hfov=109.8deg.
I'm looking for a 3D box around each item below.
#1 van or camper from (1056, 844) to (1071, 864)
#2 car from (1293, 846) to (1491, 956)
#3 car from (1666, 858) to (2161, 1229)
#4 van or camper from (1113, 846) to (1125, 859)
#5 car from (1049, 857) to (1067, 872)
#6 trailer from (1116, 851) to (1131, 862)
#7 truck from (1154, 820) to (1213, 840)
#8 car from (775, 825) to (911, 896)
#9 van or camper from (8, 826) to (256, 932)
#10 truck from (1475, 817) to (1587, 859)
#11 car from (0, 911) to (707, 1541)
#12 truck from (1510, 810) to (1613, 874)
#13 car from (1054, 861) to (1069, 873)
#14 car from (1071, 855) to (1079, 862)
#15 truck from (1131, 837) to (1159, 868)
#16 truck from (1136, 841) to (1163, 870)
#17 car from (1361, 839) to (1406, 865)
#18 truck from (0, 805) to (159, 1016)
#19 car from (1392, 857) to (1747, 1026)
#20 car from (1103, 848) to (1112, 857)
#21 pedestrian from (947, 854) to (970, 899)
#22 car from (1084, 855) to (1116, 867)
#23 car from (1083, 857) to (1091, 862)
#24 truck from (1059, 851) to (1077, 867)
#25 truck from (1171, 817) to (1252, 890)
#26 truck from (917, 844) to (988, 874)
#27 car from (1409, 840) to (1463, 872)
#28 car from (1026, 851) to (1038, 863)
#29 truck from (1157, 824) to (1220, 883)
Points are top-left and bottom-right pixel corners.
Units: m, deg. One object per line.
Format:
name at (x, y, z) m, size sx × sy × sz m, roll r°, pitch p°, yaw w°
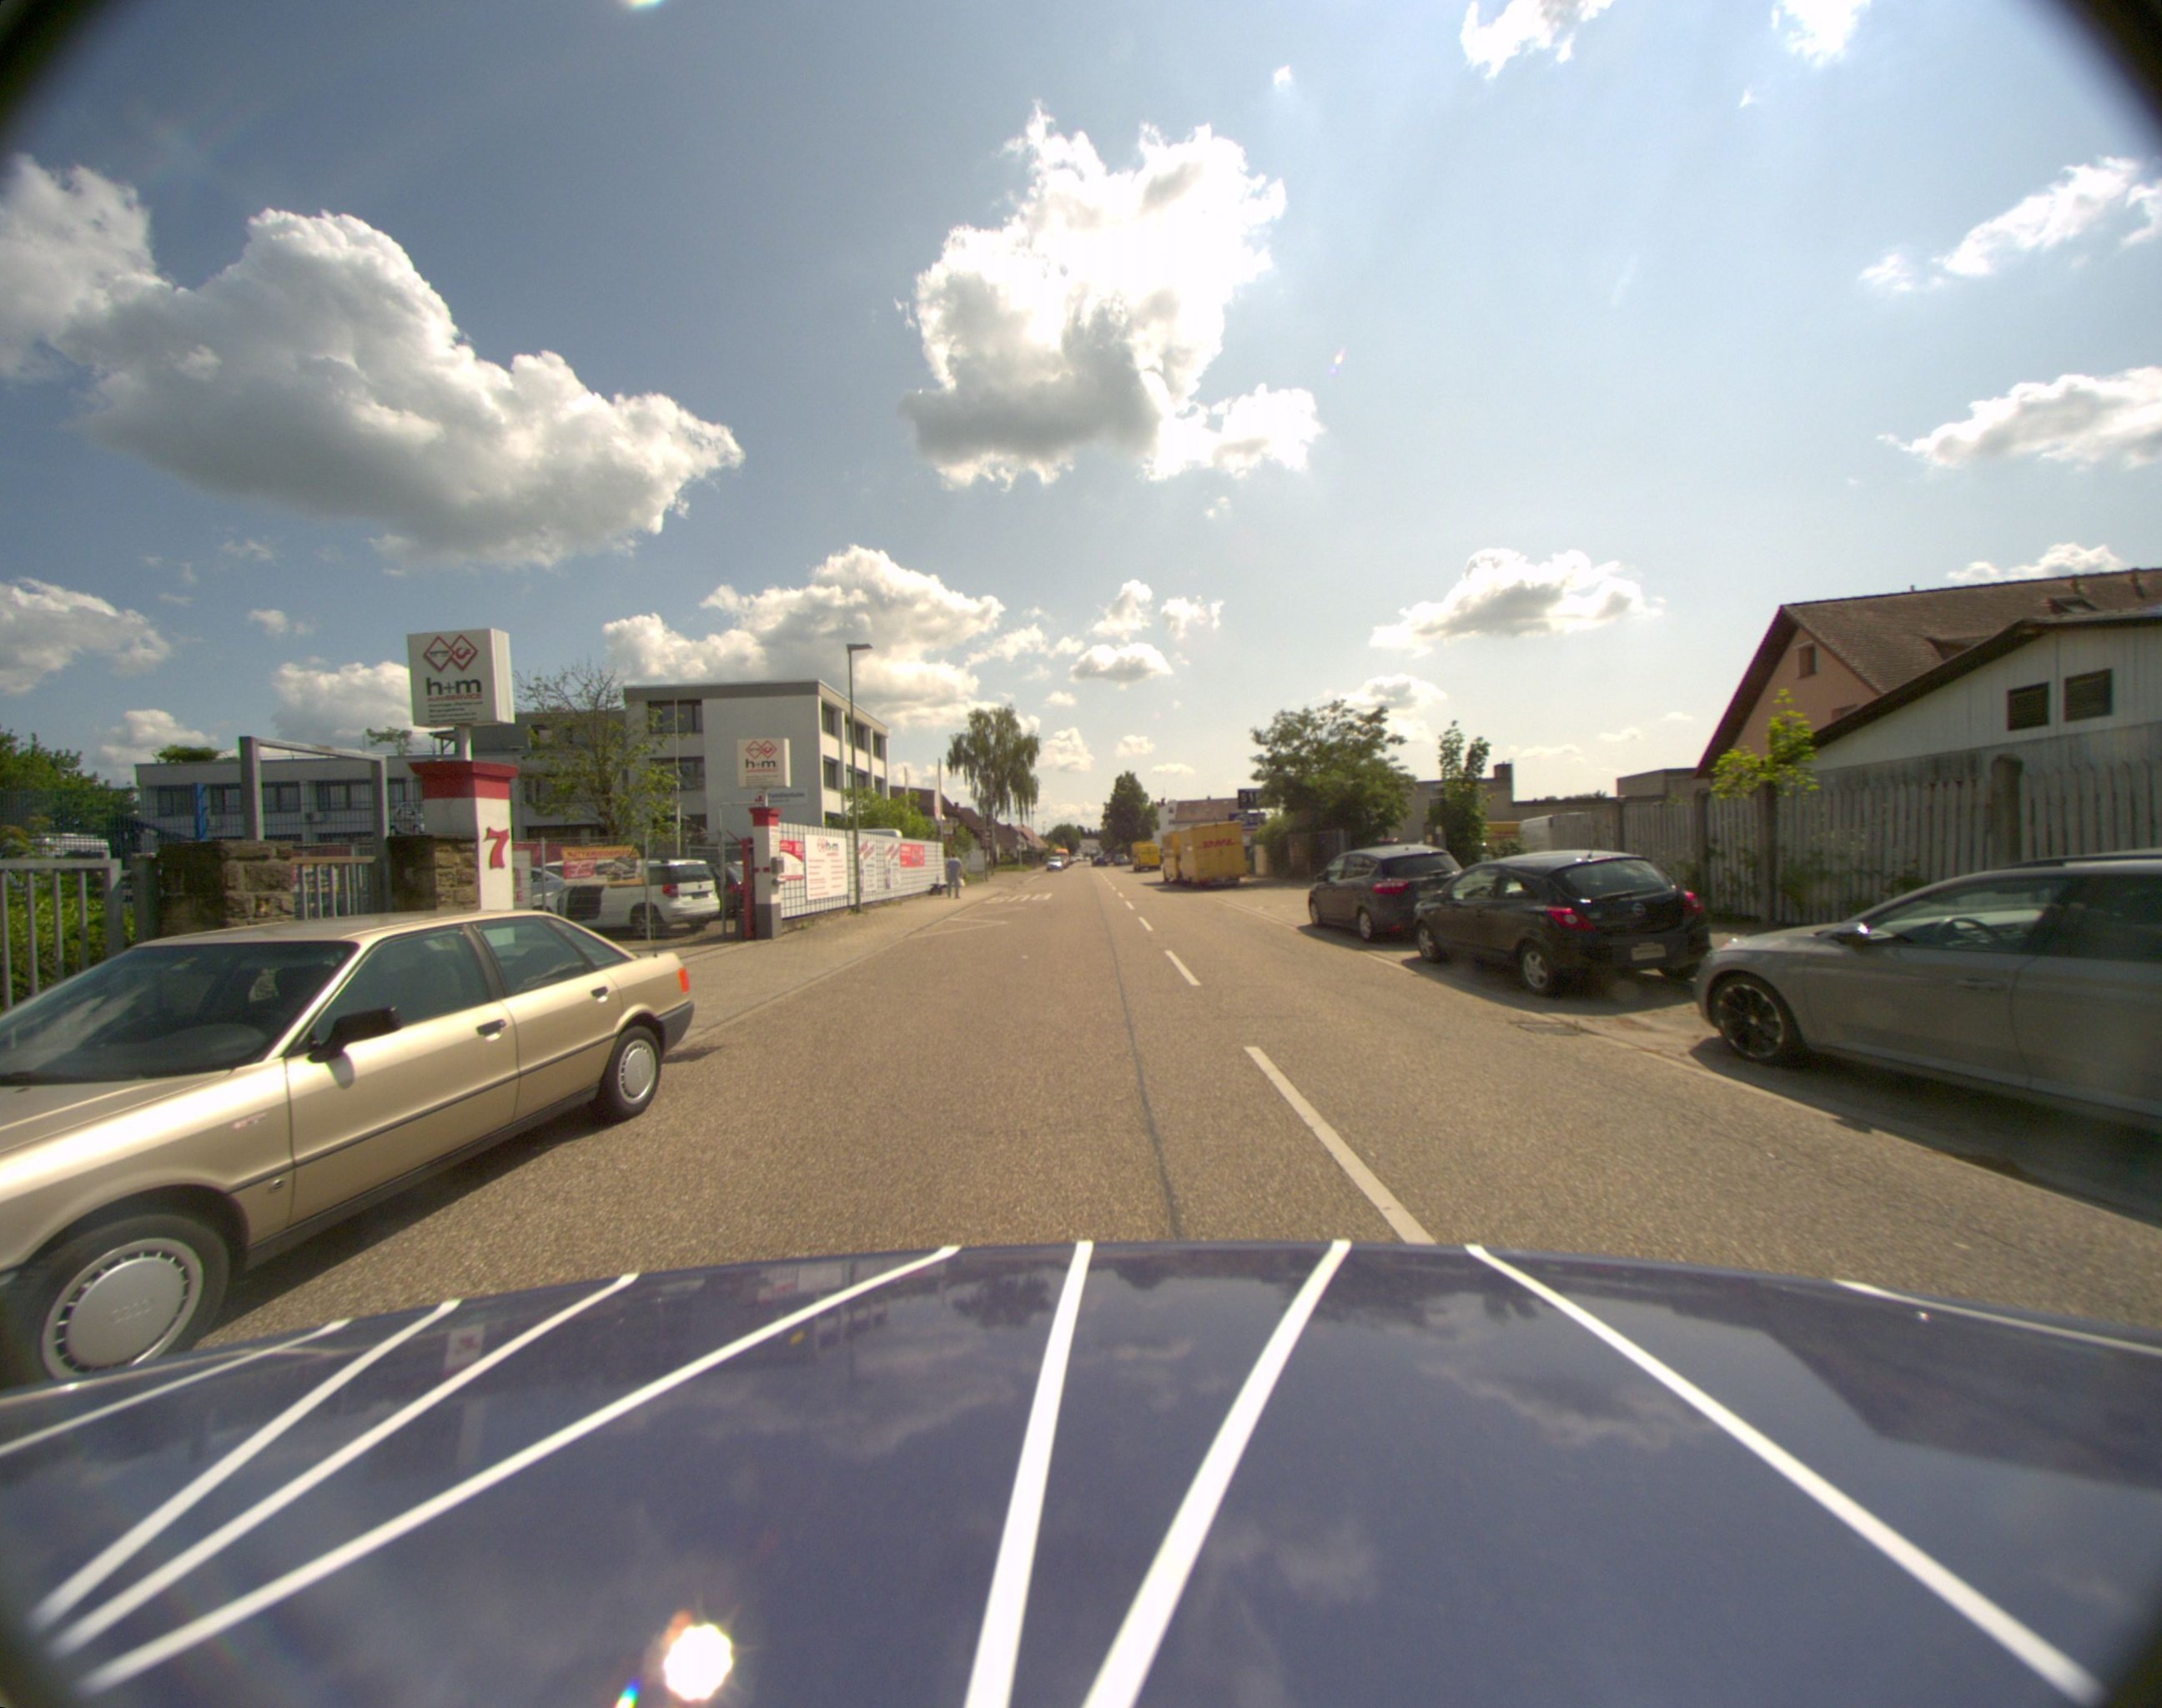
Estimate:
van or camper at (-2.522, -0.010, 108.047) m, size 1.999 × 2.648 × 5.768 m, roll -2°, pitch 0°, yaw -1°
car at (5.571, 0.740, 14.315) m, size 1.729 × 1.595 × 4.413 m, roll -5°, pitch 0°, yaw -1°
car at (5.595, 0.842, 3.704) m, size 1.737 × 1.509 × 4.742 m, roll -4°, pitch 0°, yaw 0°
van or camper at (7.339, -0.343, 147.349) m, size 1.998 × 2.303 × 5.934 m, roll -5°, pitch 0°, yaw 3°
car at (-2.545, 1.144, 84.206) m, size 1.614 × 1.571 × 4.000 m, roll -3°, pitch 0°, yaw 2°
trailer at (6.034, 0.328, 108.616) m, size 1.766 × 1.282 × 4.508 m, roll -5°, pitch 0°, yaw 1°
truck at (16.578, -3.856, 123.404) m, size 9.278 × 2.839 × 2.721 m, roll -2°, pitch 0°, yaw 5°
car at (-9.687, 0.251, 31.319) m, size 4.922 × 2.636 × 2.072 m, roll -2°, pitch 1°, yaw -7°
van or camper at (-31.528, 0.785, 25.373) m, size 5.435 × 3.211 × 2.143 m, roll -2°, pitch 1°, yaw 0°
truck at (31.905, -1.103, 54.097) m, size 6.426 × 2.749 × 2.327 m, roll -1°, pitch 1°, yaw 14°
car at (-3.690, 1.169, 3.432) m, size 1.656 × 1.379 × 4.423 m, roll -3°, pitch 0°, yaw 1°
truck at (20.889, -0.490, 33.348) m, size 2.114 × 2.473 × 5.726 m, roll -2°, pitch 0°, yaw 14°
car at (-2.417, 1.595, 95.622) m, size 1.673 × 1.327 × 4.437 m, roll -2°, pitch 0°, yaw 0°
car at (-1.623, 1.121, 200.711) m, size 1.896 × 1.763 × 4.709 m, roll -2°, pitch 0°, yaw 0°
truck at (6.281, -0.136, 75.425) m, size 2.226 × 2.840 × 7.070 m, roll -4°, pitch 0°, yaw 2°
truck at (6.125, 0.095, 68.431) m, size 1.998 × 2.399 × 6.065 m, roll -4°, pitch 0°, yaw 2°
car at (16.214, -0.090, 40.830) m, size 1.812 × 1.297 × 3.874 m, roll -1°, pitch -1°, yaw 15°
truck at (-16.380, 0.787, 9.230) m, size 7.094 × 2.510 × 2.577 m, roll -2°, pitch 1°, yaw 0°
car at (5.561, 0.859, 9.377) m, size 1.632 × 1.440 × 4.026 m, roll -6°, pitch 0°, yaw -1°
car at (6.043, -0.291, 173.863) m, size 1.814 × 1.795 × 4.491 m, roll -5°, pitch 0°, yaw 0°
pedestrian at (-4.690, 0.853, 29.154) m, size 0.717 × 1.687 × 0.522 m, roll 3°, pitch 1°, yaw -4°
car at (2.574, 0.912, 102.260) m, size 2.003 × 1.386 × 4.583 m, roll -4°, pitch 0°, yaw -32°
car at (1.927, 1.666, 246.331) m, size 1.818 × 1.513 × 4.268 m, roll -1°, pitch 0°, yaw 10°
truck at (-2.096, 0.756, 121.623) m, size 2.528 × 2.286 × 5.895 m, roll -4°, pitch 0°, yaw 1°
truck at (5.783, -0.031, 34.778) m, size 2.322 × 2.846 × 7.104 m, roll -5°, pitch 0°, yaw 0°
truck at (-12.260, 0.438, 72.348) m, size 6.067 × 2.562 × 2.561 m, roll -3°, pitch 0°, yaw -26°
car at (18.337, 0.078, 39.410) m, size 1.768 × 1.504 × 3.921 m, roll -2°, pitch 0°, yaw 13°
car at (-7.997, 0.553, 124.379) m, size 1.862 × 1.855 × 5.018 m, roll -2°, pitch 0°, yaw -4°
truck at (5.786, 0.006, 42.004) m, size 2.275 × 2.837 × 7.174 m, roll -3°, pitch 0°, yaw 0°
